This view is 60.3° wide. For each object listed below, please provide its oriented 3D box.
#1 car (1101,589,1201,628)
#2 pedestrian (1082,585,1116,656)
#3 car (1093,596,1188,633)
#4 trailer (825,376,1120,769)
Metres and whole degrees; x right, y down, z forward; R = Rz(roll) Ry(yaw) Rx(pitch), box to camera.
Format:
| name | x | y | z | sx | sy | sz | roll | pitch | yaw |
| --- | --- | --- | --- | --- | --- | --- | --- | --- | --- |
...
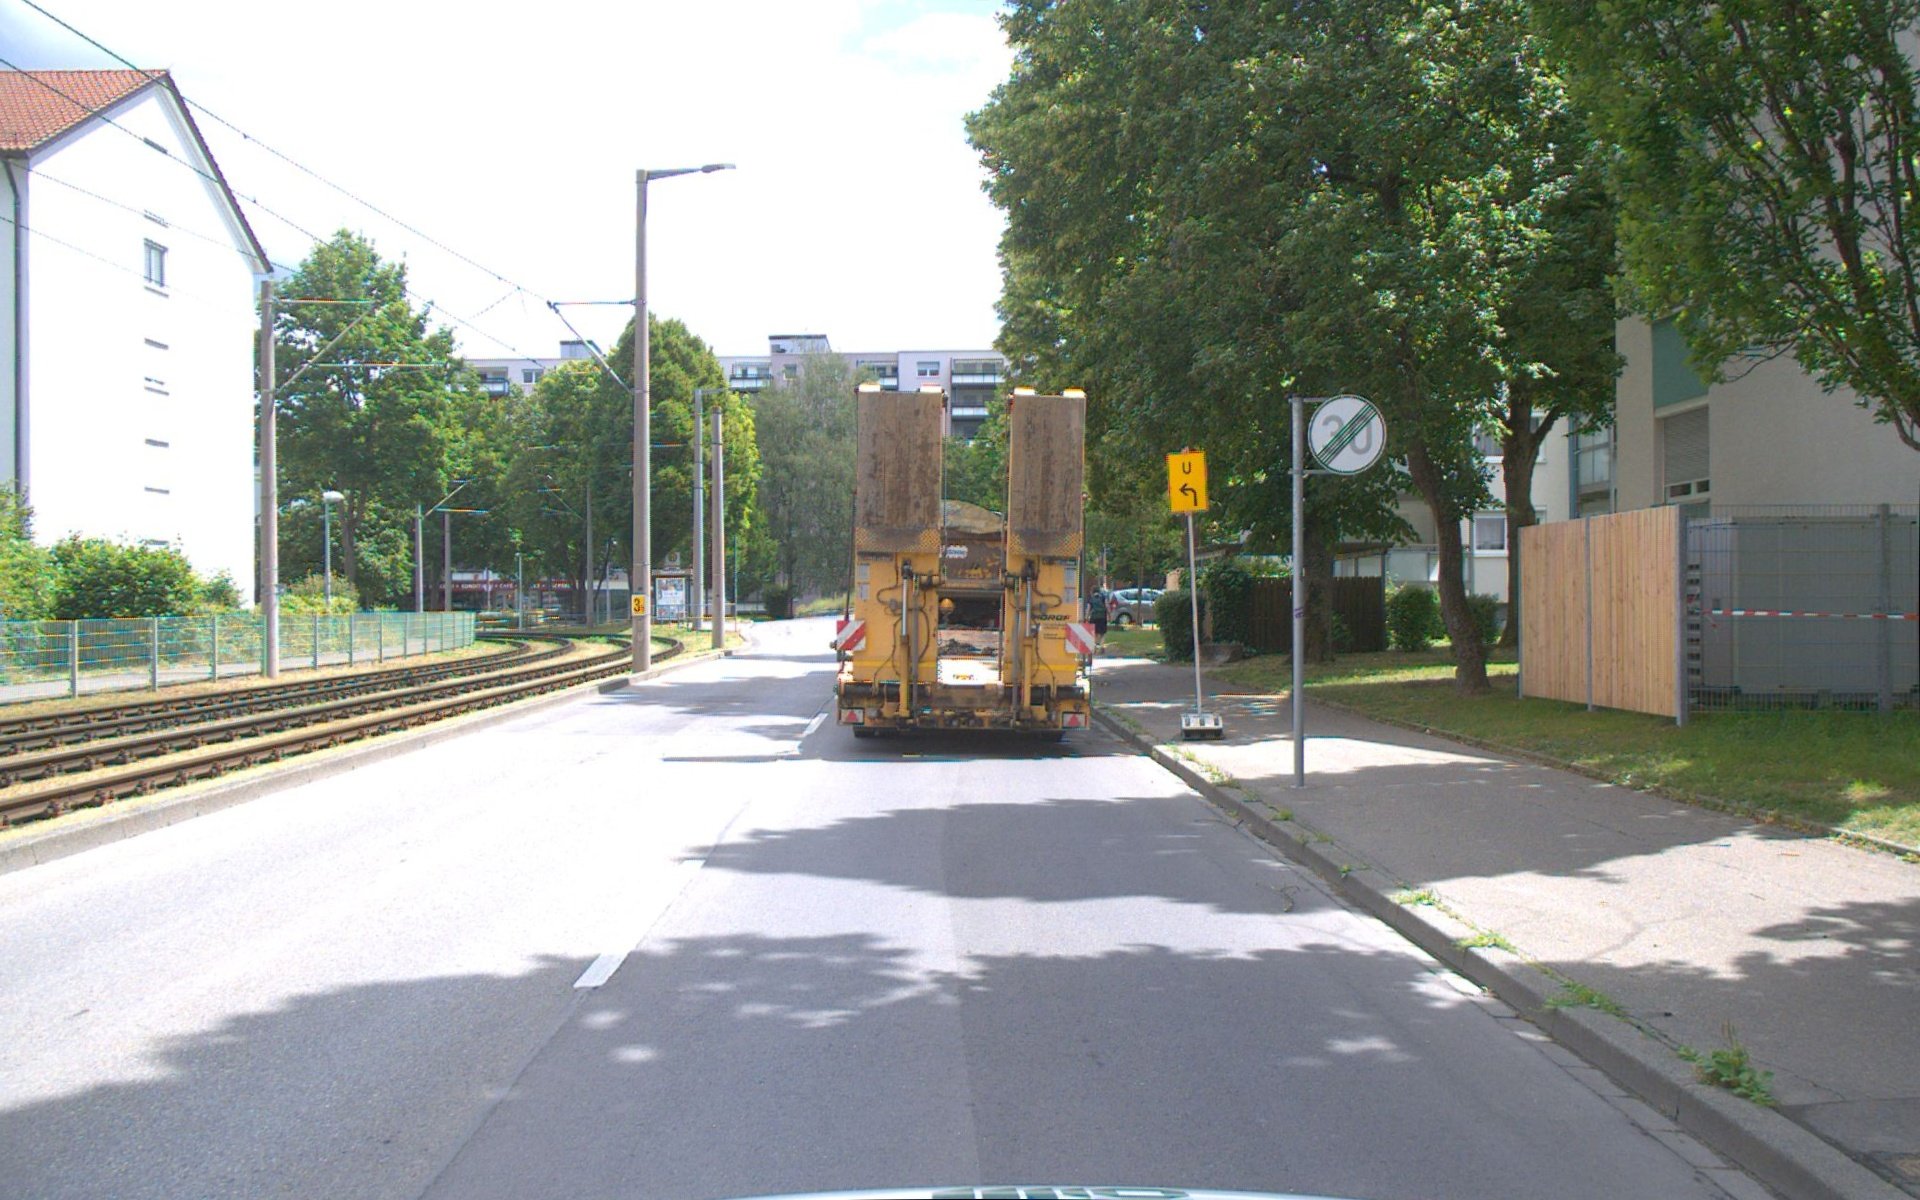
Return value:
| name | x | y | z | sx | sy | sz | roll | pitch | yaw |
| --- | --- | --- | --- | --- | --- | --- | --- | --- | --- |
| car | 8.204 | 0.361 | 71.020 | 3.918 | 1.588 | 1.754 | 1 | 0 | -13 |
| pedestrian | 3.451 | 0.497 | 41.135 | 0.703 | 1.736 | 0.766 | -2 | 0 | -1 |
| car | 8.115 | 0.651 | 74.400 | 3.918 | 1.588 | 1.754 | 1 | 0 | -13 |
| trailer | -0.219 | -0.249 | 22.007 | 2.771 | 3.710 | 12.345 | 1 | 0 | -3 |
